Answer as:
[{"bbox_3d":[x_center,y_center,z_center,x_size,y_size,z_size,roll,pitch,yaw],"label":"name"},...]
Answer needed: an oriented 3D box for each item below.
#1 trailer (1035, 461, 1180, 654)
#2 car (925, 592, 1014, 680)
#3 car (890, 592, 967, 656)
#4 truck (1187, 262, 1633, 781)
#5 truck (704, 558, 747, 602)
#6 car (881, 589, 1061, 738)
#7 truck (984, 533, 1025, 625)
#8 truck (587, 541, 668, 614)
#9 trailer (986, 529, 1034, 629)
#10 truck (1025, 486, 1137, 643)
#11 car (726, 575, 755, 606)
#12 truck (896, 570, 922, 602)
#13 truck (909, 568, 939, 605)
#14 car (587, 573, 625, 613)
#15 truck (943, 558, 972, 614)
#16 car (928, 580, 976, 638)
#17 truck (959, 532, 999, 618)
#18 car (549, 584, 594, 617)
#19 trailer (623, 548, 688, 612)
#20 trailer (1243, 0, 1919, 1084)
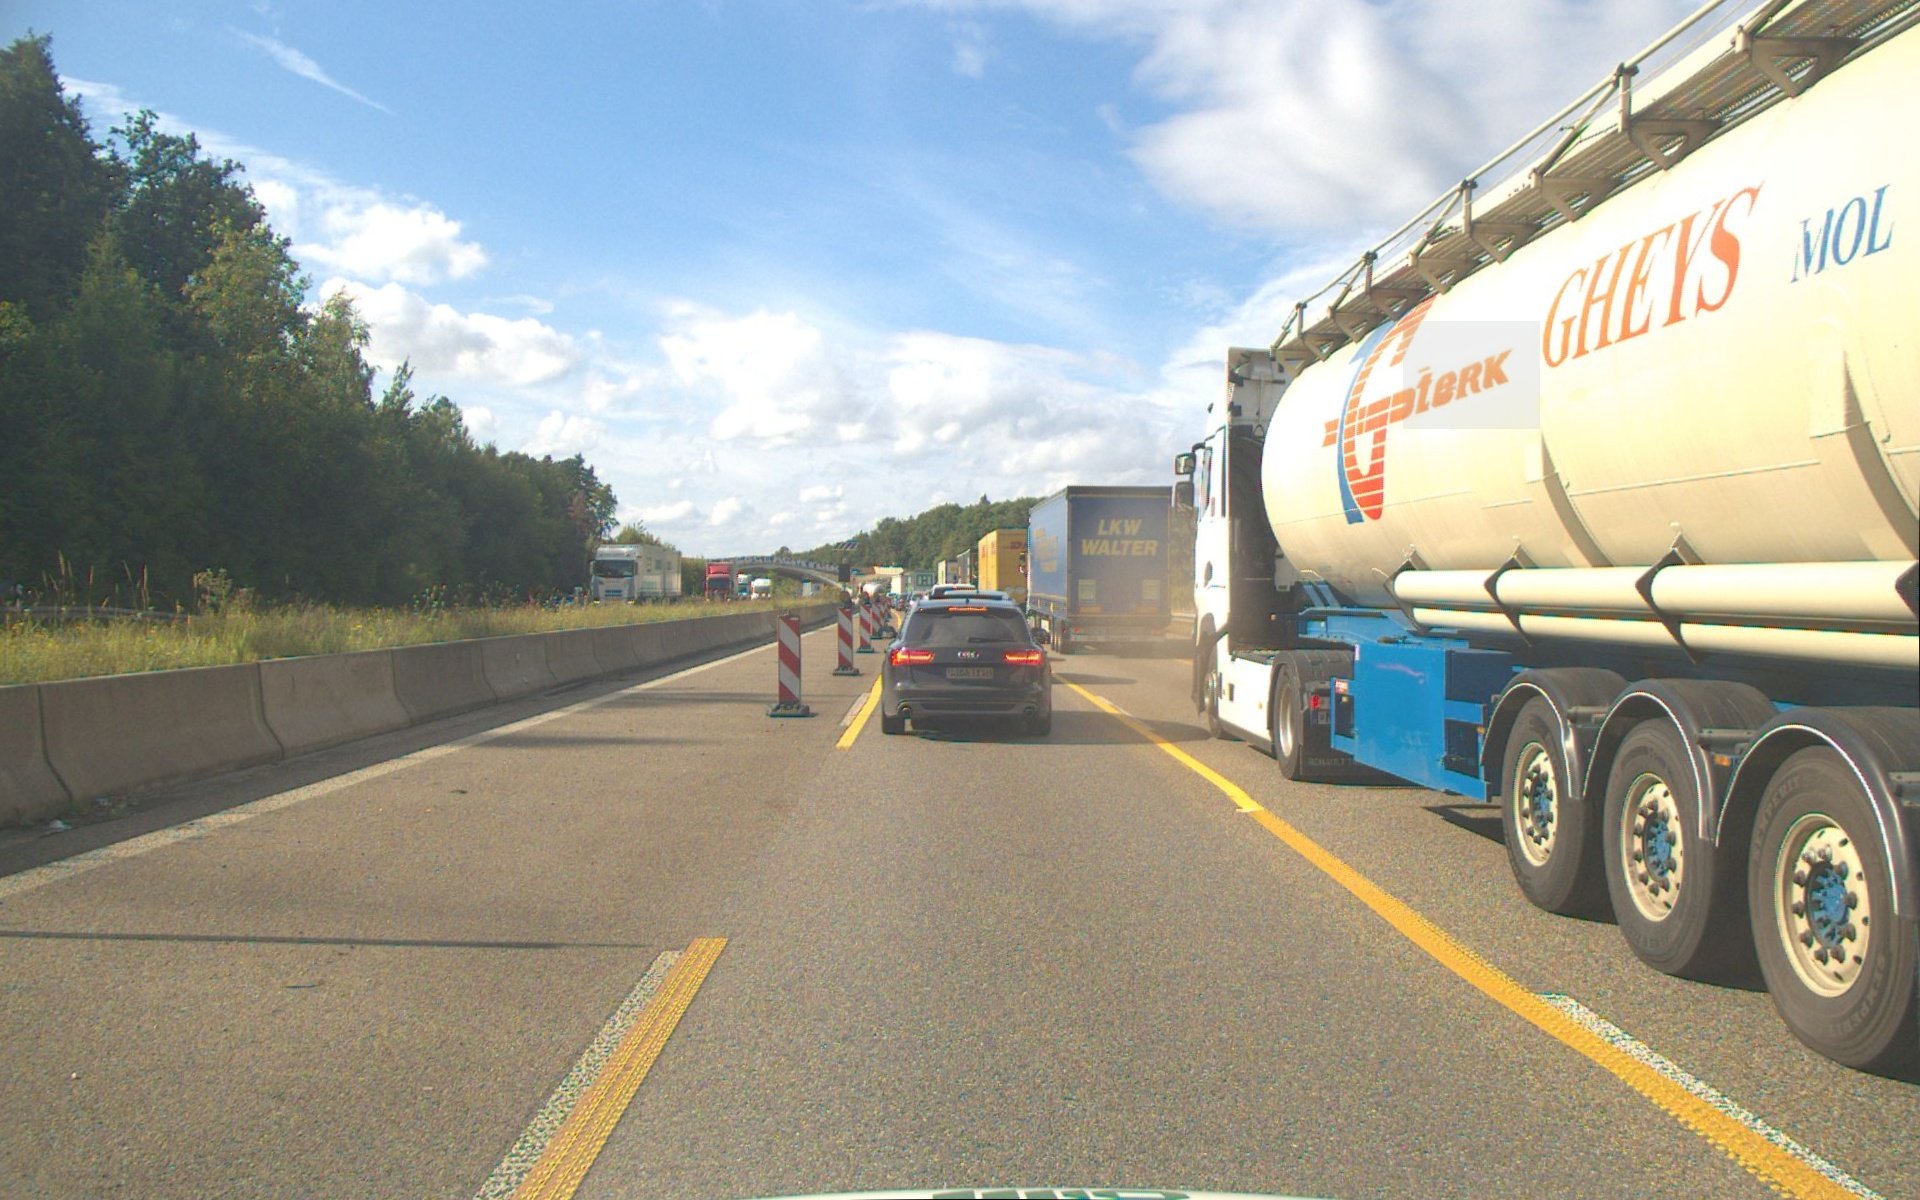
[{"bbox_3d":[3.711,-0.983,44.173,2.748,4.490,10.430,1,0,-1],"label":"trailer"},{"bbox_3d":[0.138,0.622,29.791,1.493,1.464,3.284,1,0,-1],"label":"car"},{"bbox_3d":[-0.728,0.543,39.135,1.716,1.421,3.607,1,0,-1],"label":"car"},{"bbox_3d":[3.947,-0.604,15.900,2.605,4.041,5.777,1,0,-1],"label":"truck"},{"bbox_3d":[-22.527,-1.874,159.322,2.743,4.062,10.184,1,0,-1],"label":"truck"},{"bbox_3d":[0.091,0.651,18.690,1.811,1.489,3.999,0,0,-1],"label":"car"},{"bbox_3d":[1.953,-0.899,73.511,1.577,3.965,4.071,1,0,-1],"label":"truck"},{"bbox_3d":[-19.706,-1.237,98.762,2.726,4.054,10.859,1,0,-1],"label":"truck"},{"bbox_3d":[2.045,-0.839,69.432,1.584,3.987,6.487,1,0,-1],"label":"trailer"},{"bbox_3d":[3.621,-0.992,51.298,2.749,4.446,7.790,1,0,-1],"label":"truck"},{"bbox_3d":[-24.743,-1.021,186.782,2.436,3.429,7.450,1,0,-1],"label":"car"},{"bbox_3d":[-7.000,-1.937,226.578,3.239,4.248,9.695,1,0,-4],"label":"truck"},{"bbox_3d":[-4.320,-1.521,196.016,3.238,4.248,9.697,0,0,-2],"label":"truck"},{"bbox_3d":[-24.728,-0.472,115.700,2.208,2.689,5.010,1,0,-8],"label":"car"},{"bbox_3d":[-0.226,-1.044,132.686,2.094,4.332,7.069,1,0,-1],"label":"truck"},{"bbox_3d":[-0.280,0.312,55.805,1.549,1.869,3.111,1,0,-1],"label":"car"},{"bbox_3d":[1.123,-1.491,100.964,1.953,5.000,9.558,1,0,-2],"label":"truck"},{"bbox_3d":[-24.814,0.014,105.836,1.953,2.049,3.999,1,0,-1],"label":"car"},{"bbox_3d":[-19.900,-1.230,108.480,2.734,3.992,8.486,1,0,-1],"label":"trailer"},{"bbox_3d":[4.034,-0.600,9.087,2.590,4.012,12.595,1,0,-1],"label":"trailer"}]
